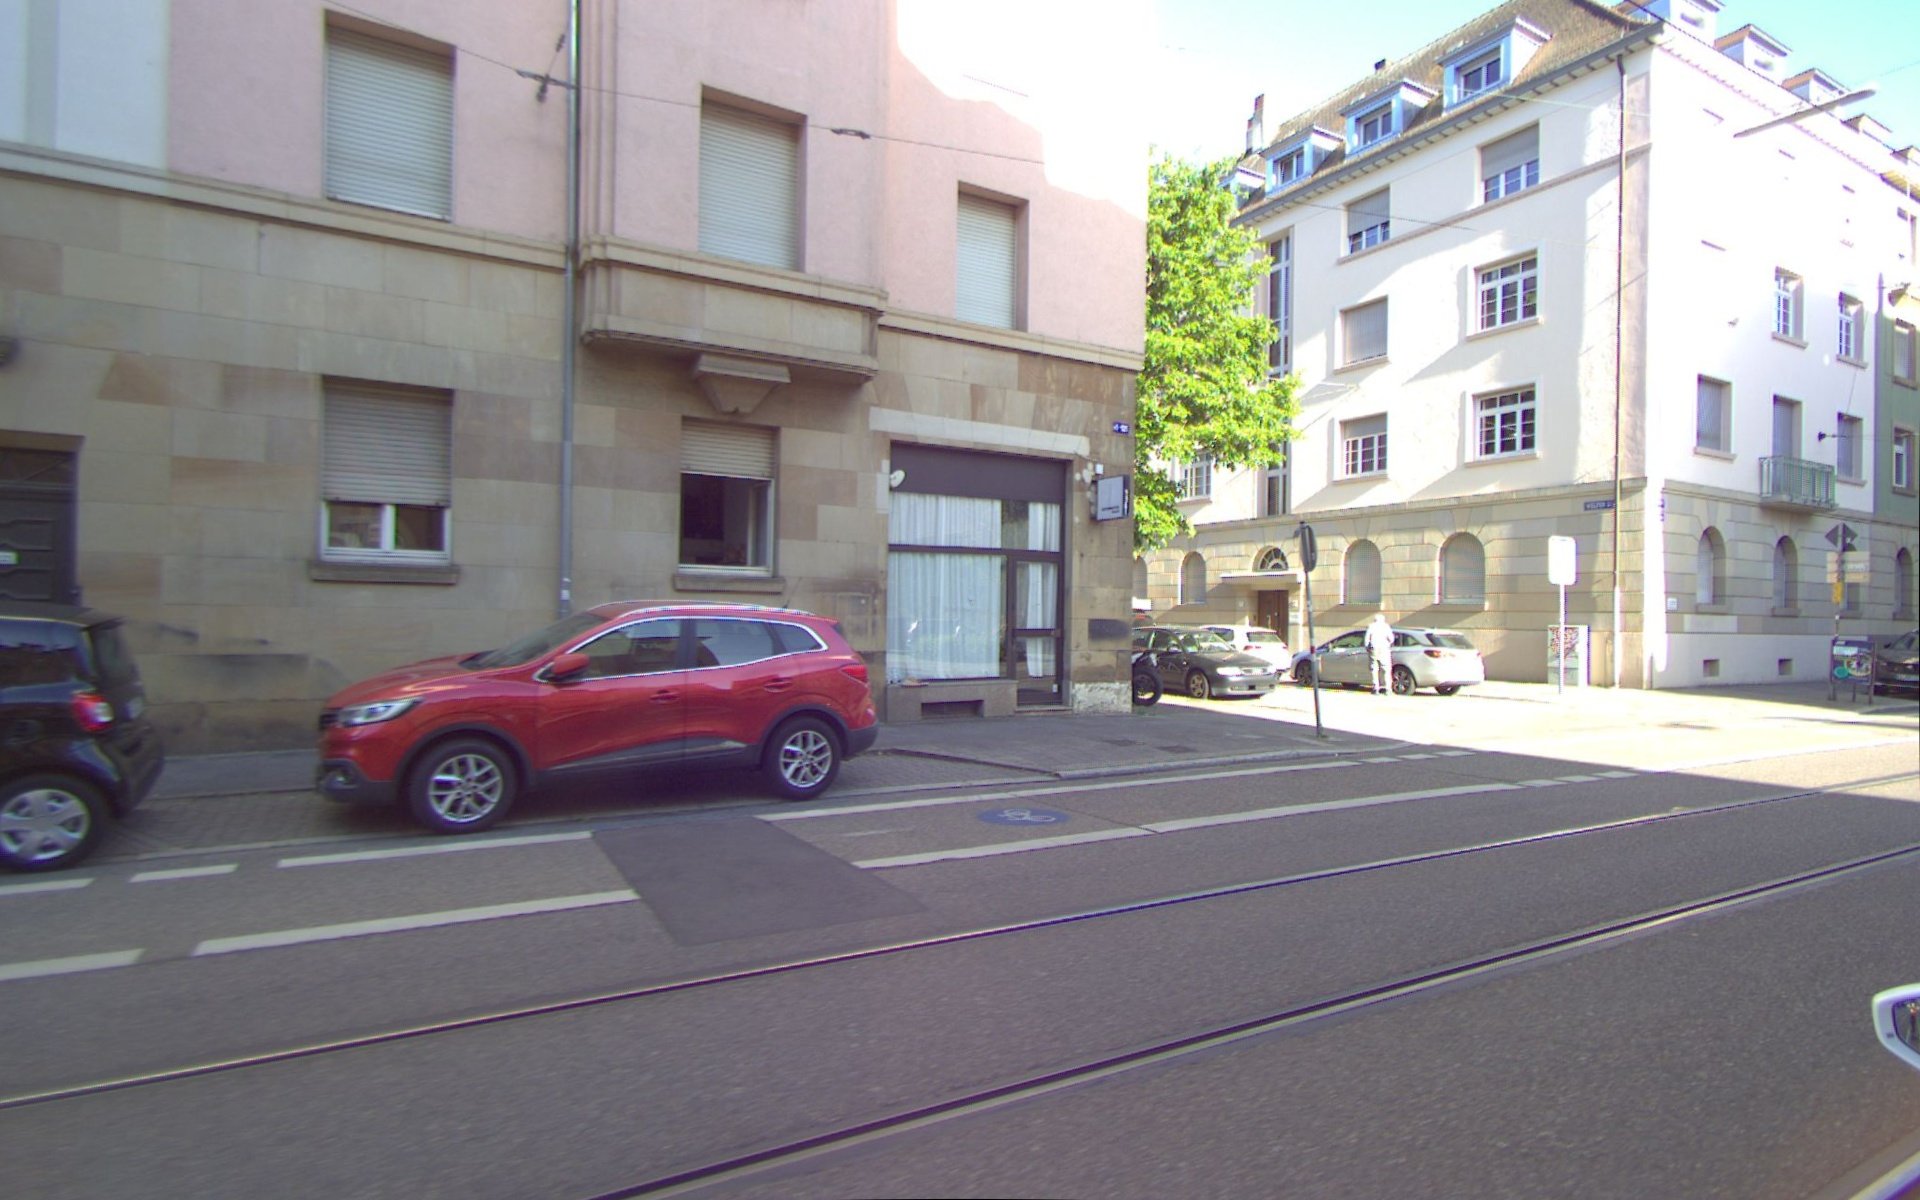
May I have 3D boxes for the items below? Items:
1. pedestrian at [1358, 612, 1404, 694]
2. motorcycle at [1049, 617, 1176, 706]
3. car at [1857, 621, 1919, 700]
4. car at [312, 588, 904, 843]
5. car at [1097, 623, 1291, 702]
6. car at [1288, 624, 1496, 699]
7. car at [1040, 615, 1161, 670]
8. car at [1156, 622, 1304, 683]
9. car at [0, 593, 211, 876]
[{"bbox_3d":[9.095,1.135,21.708,0.723,1.735,0.604,1,-1,-30],"label":"pedestrian"},{"bbox_3d":[2.537,1.013,16.912,1.985,1.437,0.951,1,-1,0],"label":"motorcycle"},{"bbox_3d":[23.074,1.402,23.566,4.616,1.713,1.773,1,1,-32],"label":"car"},{"bbox_3d":[-2.807,0.784,8.436,4.348,1.628,1.773,1,1,-32],"label":"car"},{"bbox_3d":[4.769,1.227,21.006,1.727,1.413,3.968,0,0,-30],"label":"car"},{"bbox_3d":[9.789,1.324,23.107,1.761,1.484,4.197,0,0,-30],"label":"car"},{"bbox_3d":[4.468,1.316,32.473,1.837,1.602,3.968,0,0,-30],"label":"car"},{"bbox_3d":[7.327,1.390,27.627,1.819,1.484,3.778,0,0,-30],"label":"car"},{"bbox_3d":[-6.573,0.753,6.122,2.983,1.573,1.775,1,1,-30],"label":"car"}]
